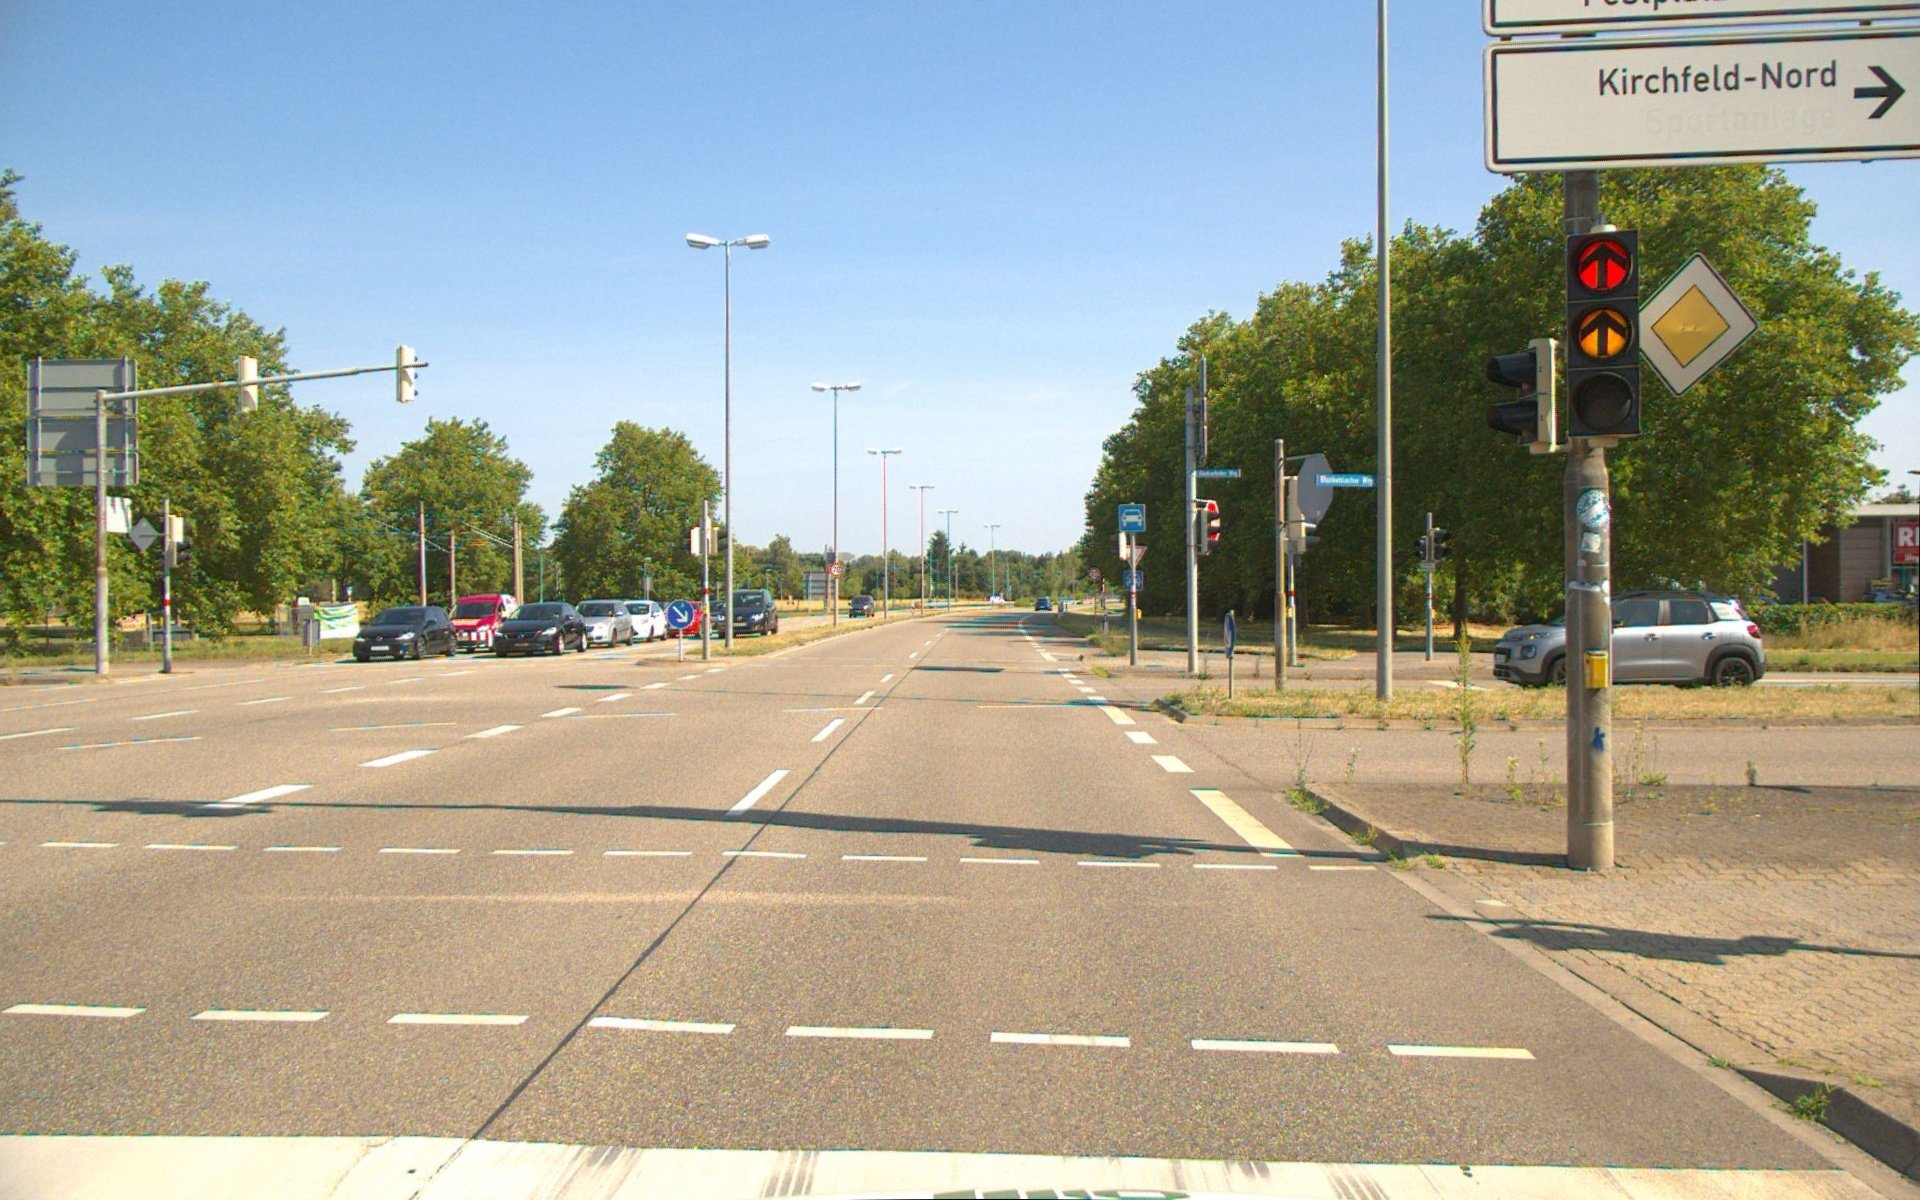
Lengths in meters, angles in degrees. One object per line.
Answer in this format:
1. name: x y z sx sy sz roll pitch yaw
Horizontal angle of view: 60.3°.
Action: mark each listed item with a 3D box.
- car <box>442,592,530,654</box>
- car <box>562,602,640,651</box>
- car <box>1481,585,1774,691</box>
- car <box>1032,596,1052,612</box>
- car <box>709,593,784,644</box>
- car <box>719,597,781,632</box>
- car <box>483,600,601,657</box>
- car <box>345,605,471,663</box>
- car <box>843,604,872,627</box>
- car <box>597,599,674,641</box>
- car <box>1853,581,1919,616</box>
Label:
1. car: -14.809 0.699 51.827 1.670 1.800 4.227 -2 0 -3
2. car: -11.340 0.802 52.469 1.586 1.483 3.871 -1 0 0
3. car: 10.581 0.581 26.399 3.968 1.591 1.743 -1 0 0
4. car: 9.170 0.412 184.167 1.953 1.713 3.999 -1 0 -1
5. car: -7.821 0.658 61.010 1.940 1.781 4.509 -1 0 3
6. car: -9.237 0.632 73.141 1.940 1.483 4.452 -1 0 3
7. car: -11.434 0.743 45.569 1.940 1.483 4.334 -1 0 3
8. car: -15.180 0.898 45.717 1.846 1.483 4.231 -1 0 3
9. car: -8.510 1.284 137.397 1.940 1.810 4.491 -1 0 2
10. car: -11.546 0.698 59.071 1.790 1.410 3.845 -1 0 3
11. car: 49.349 -0.077 86.265 4.398 1.781 1.989 -1 0 6
